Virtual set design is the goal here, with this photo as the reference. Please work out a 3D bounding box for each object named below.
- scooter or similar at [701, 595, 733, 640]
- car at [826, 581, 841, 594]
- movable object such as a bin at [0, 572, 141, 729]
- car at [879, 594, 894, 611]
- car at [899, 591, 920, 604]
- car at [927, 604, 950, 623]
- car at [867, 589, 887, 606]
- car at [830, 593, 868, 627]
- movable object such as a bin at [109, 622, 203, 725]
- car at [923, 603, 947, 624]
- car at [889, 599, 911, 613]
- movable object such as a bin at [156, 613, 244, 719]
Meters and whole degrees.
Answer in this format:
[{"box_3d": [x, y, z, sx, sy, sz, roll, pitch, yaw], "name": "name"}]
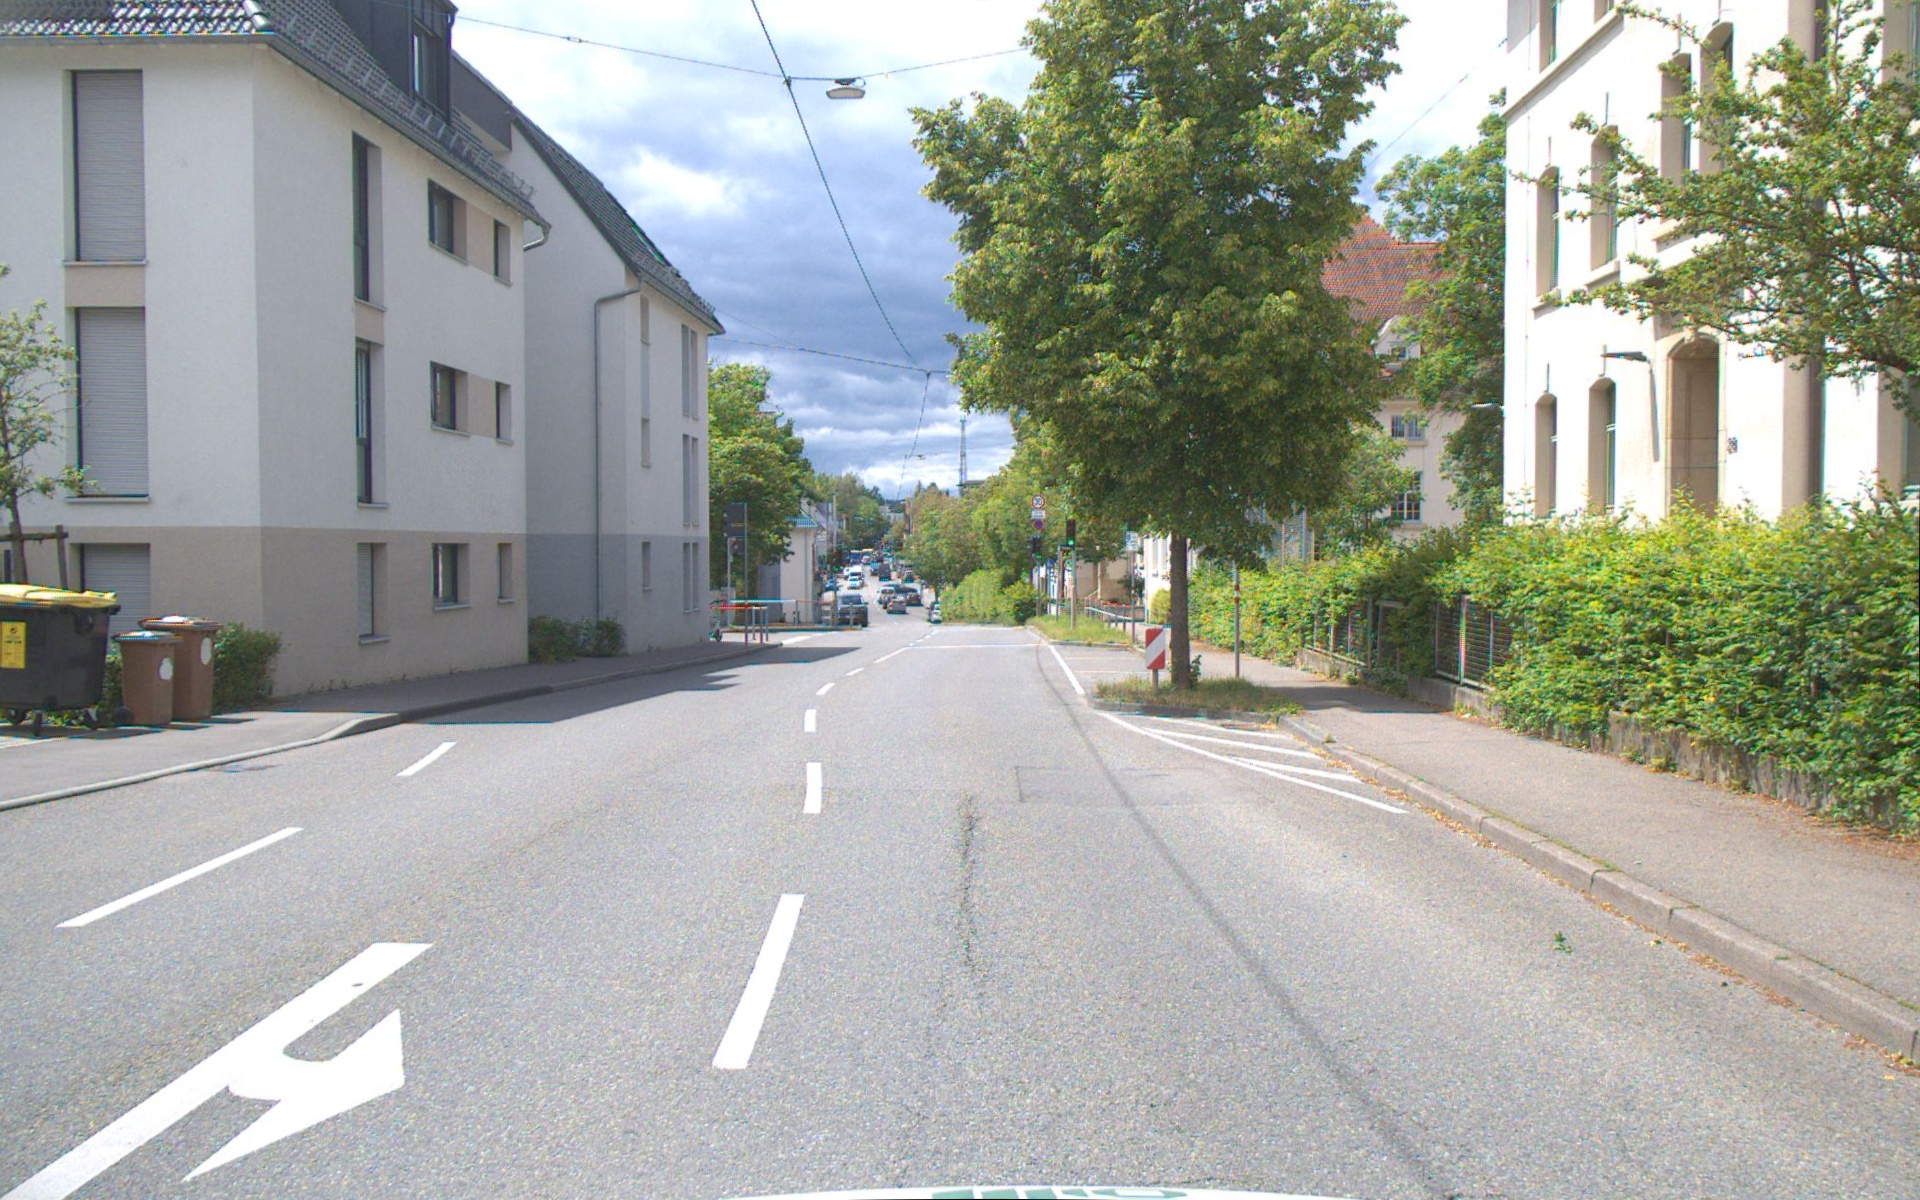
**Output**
[{"box_3d": [-7.006, 0.497, 47.671, 0.484, 1.283, 1.295, -1, 0, -28], "name": "scooter or similar"}, {"box_3d": [-17.404, -1.678, 227.775, 1.835, 1.668, 3.999, 1, 0, -2], "name": "car"}, {"box_3d": [-8.894, 0.466, 16.071, 1.308, 1.471, 1.170, 0, 0, -3], "name": "movable object such as a bin"}, {"box_3d": [-7.987, 0.260, 178.997, 1.251, 1.553, 3.043, -1, 3, -11], "name": "car"}, {"box_3d": [-5.660, -0.248, 185.240, 1.721, 1.395, 3.990, 0, 1, -10], "name": "car"}, {"box_3d": [-1.837, 1.131, 138.873, 1.751, 1.535, 4.361, 0, 0, -4], "name": "car"}, {"box_3d": [-9.433, -0.344, 188.072, 1.802, 1.894, 3.843, 1, 0, -9], "name": "car"}, {"box_3d": [-5.480, 0.484, 82.057, 1.759, 1.638, 4.644, 0, 0, -2], "name": "car"}, {"box_3d": [-8.157, 0.738, 16.804, 0.627, 1.018, 0.657, 0, 0, 1], "name": "movable object such as a bin"}, {"box_3d": [-2.211, 1.190, 144.729, 1.808, 1.798, 4.511, 0, 0, -4], "name": "car"}, {"box_3d": [-6.147, 0.602, 169.495, 1.712, 1.441, 3.990, 0, 0, -10], "name": "car"}, {"box_3d": [-8.056, 0.686, 17.549, 0.627, 1.094, 0.660, 0, 0, -2], "name": "movable object such as a bin"}]
